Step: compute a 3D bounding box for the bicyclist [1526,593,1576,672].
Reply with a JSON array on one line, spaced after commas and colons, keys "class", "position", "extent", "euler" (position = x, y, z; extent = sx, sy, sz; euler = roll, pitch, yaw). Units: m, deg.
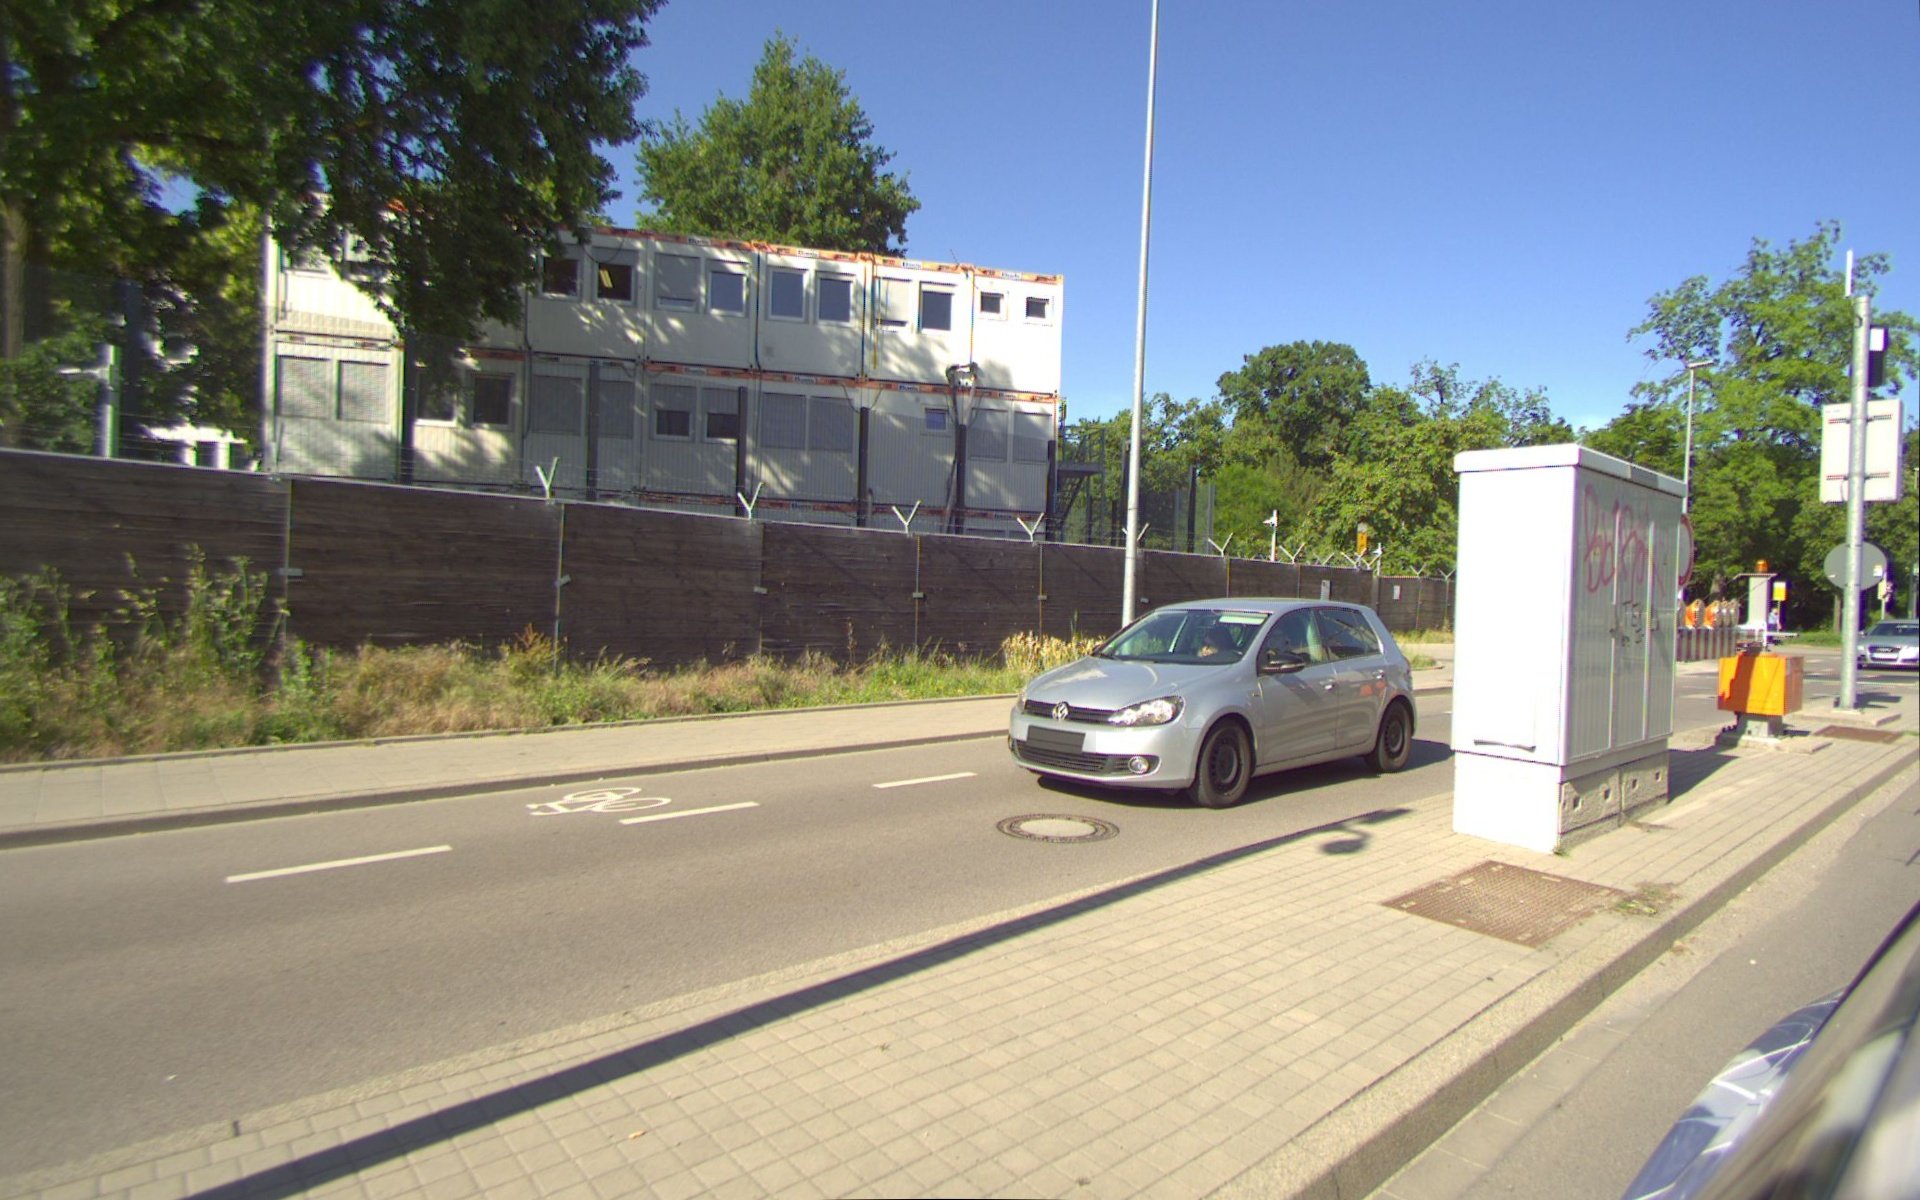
[{"class": "bicyclist", "position": [13.632, 0.736, 23.354], "extent": [0.647, 1.730, 0.700], "euler": [2, 3, -37]}]

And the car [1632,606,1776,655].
[{"class": "car", "position": [25.127, 0.998, 34.334], "extent": [1.449, 1.419, 3.751], "euler": [1, 1, -19]}]

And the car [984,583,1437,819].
[{"class": "car", "position": [2.187, 0.609, 8.220], "extent": [3.904, 1.453, 1.669], "euler": [0, 1, -42]}]

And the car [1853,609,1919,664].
[{"class": "car", "position": [27.130, 1.020, 28.593], "extent": [4.216, 1.419, 1.840], "euler": [1, 1, -34]}]

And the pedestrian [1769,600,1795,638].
[{"class": "pedestrian", "position": [38.687, 0.869, 47.632], "extent": [0.699, 1.772, 0.647], "euler": [0, 0, 2]}]

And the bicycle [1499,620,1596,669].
[{"class": "bicycle", "position": [13.569, 1.011, 23.419], "extent": [0.483, 0.912, 1.862], "euler": [2, 3, -37]}]
